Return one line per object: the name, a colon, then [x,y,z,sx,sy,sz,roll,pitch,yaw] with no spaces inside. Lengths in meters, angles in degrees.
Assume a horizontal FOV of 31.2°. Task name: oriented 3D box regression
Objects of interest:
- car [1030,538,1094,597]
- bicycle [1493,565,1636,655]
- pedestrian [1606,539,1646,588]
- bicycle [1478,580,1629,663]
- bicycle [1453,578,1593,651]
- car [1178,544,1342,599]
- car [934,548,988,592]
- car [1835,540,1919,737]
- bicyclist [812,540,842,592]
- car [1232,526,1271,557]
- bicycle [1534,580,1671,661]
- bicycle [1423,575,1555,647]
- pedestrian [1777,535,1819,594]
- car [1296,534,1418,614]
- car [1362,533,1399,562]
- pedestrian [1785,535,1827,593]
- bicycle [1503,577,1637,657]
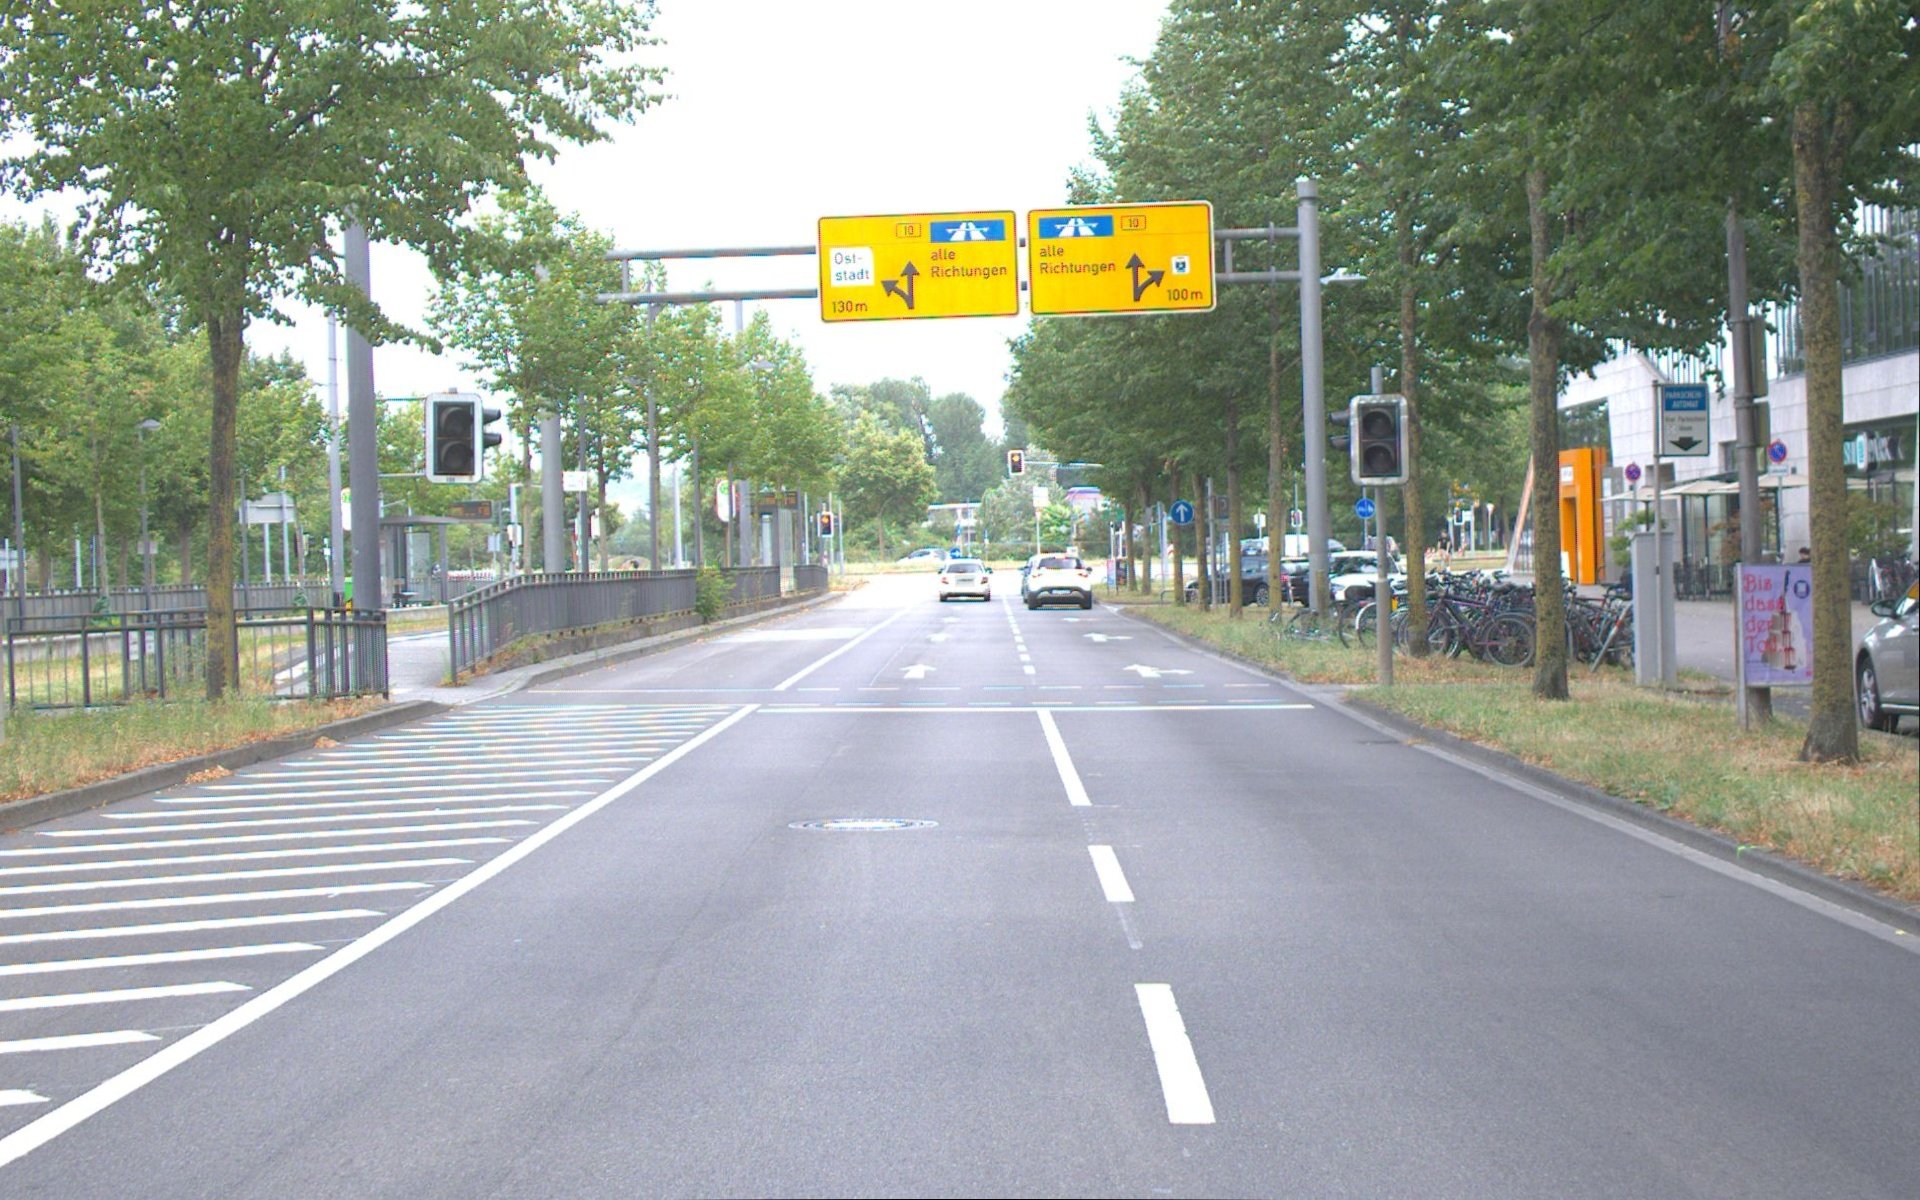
car: [2.979,-0.957,100.788,1.779,1.651,4.023,-2,1,1]
bicycle: [7.533,0.127,42.875,1.668,1.087,0.525,1,1,-2]
pedestrian: [16.993,-0.931,87.726,0.898,1.224,0.950,-2,1,5]
bicycle: [7.543,0.271,43.707,1.772,1.008,0.610,1,1,-8]
bicycle: [7.479,0.188,45.707,1.714,0.903,0.589,2,1,-8]
car: [8.447,-0.795,97.281,1.941,1.470,4.870,-2,1,-34]
car: [0.028,-1.065,120.025,1.773,1.443,3.911,-2,1,-1]
car: [7.797,0.261,25.103,1.760,1.416,4.183,-1,1,1]
bicyclist: [-5.220,-1.343,134.754,0.732,1.880,0.730,12,-12,-34]
car: [17.311,-3.467,204.345,1.993,1.785,4.000,1,0,0]
bicycle: [7.727,0.245,41.367,1.529,0.950,0.552,1,1,-2]
bicycle: [7.595,0.152,49.371,1.743,0.971,0.609,2,1,-8]
pedestrian: [17.259,-0.732,70.775,0.773,1.188,1.105,-1,1,16]
car: [8.205,-0.568,71.395,1.938,1.546,4.594,-1,1,0]
car: [24.300,-3.047,198.518,1.784,1.630,4.400,-1,1,11]
pedestrian: [17.805,-0.762,72.343,0.719,1.188,0.758,-1,1,23]
bicycle: [7.471,0.200,42.140,1.529,0.950,0.484,1,1,-2]
